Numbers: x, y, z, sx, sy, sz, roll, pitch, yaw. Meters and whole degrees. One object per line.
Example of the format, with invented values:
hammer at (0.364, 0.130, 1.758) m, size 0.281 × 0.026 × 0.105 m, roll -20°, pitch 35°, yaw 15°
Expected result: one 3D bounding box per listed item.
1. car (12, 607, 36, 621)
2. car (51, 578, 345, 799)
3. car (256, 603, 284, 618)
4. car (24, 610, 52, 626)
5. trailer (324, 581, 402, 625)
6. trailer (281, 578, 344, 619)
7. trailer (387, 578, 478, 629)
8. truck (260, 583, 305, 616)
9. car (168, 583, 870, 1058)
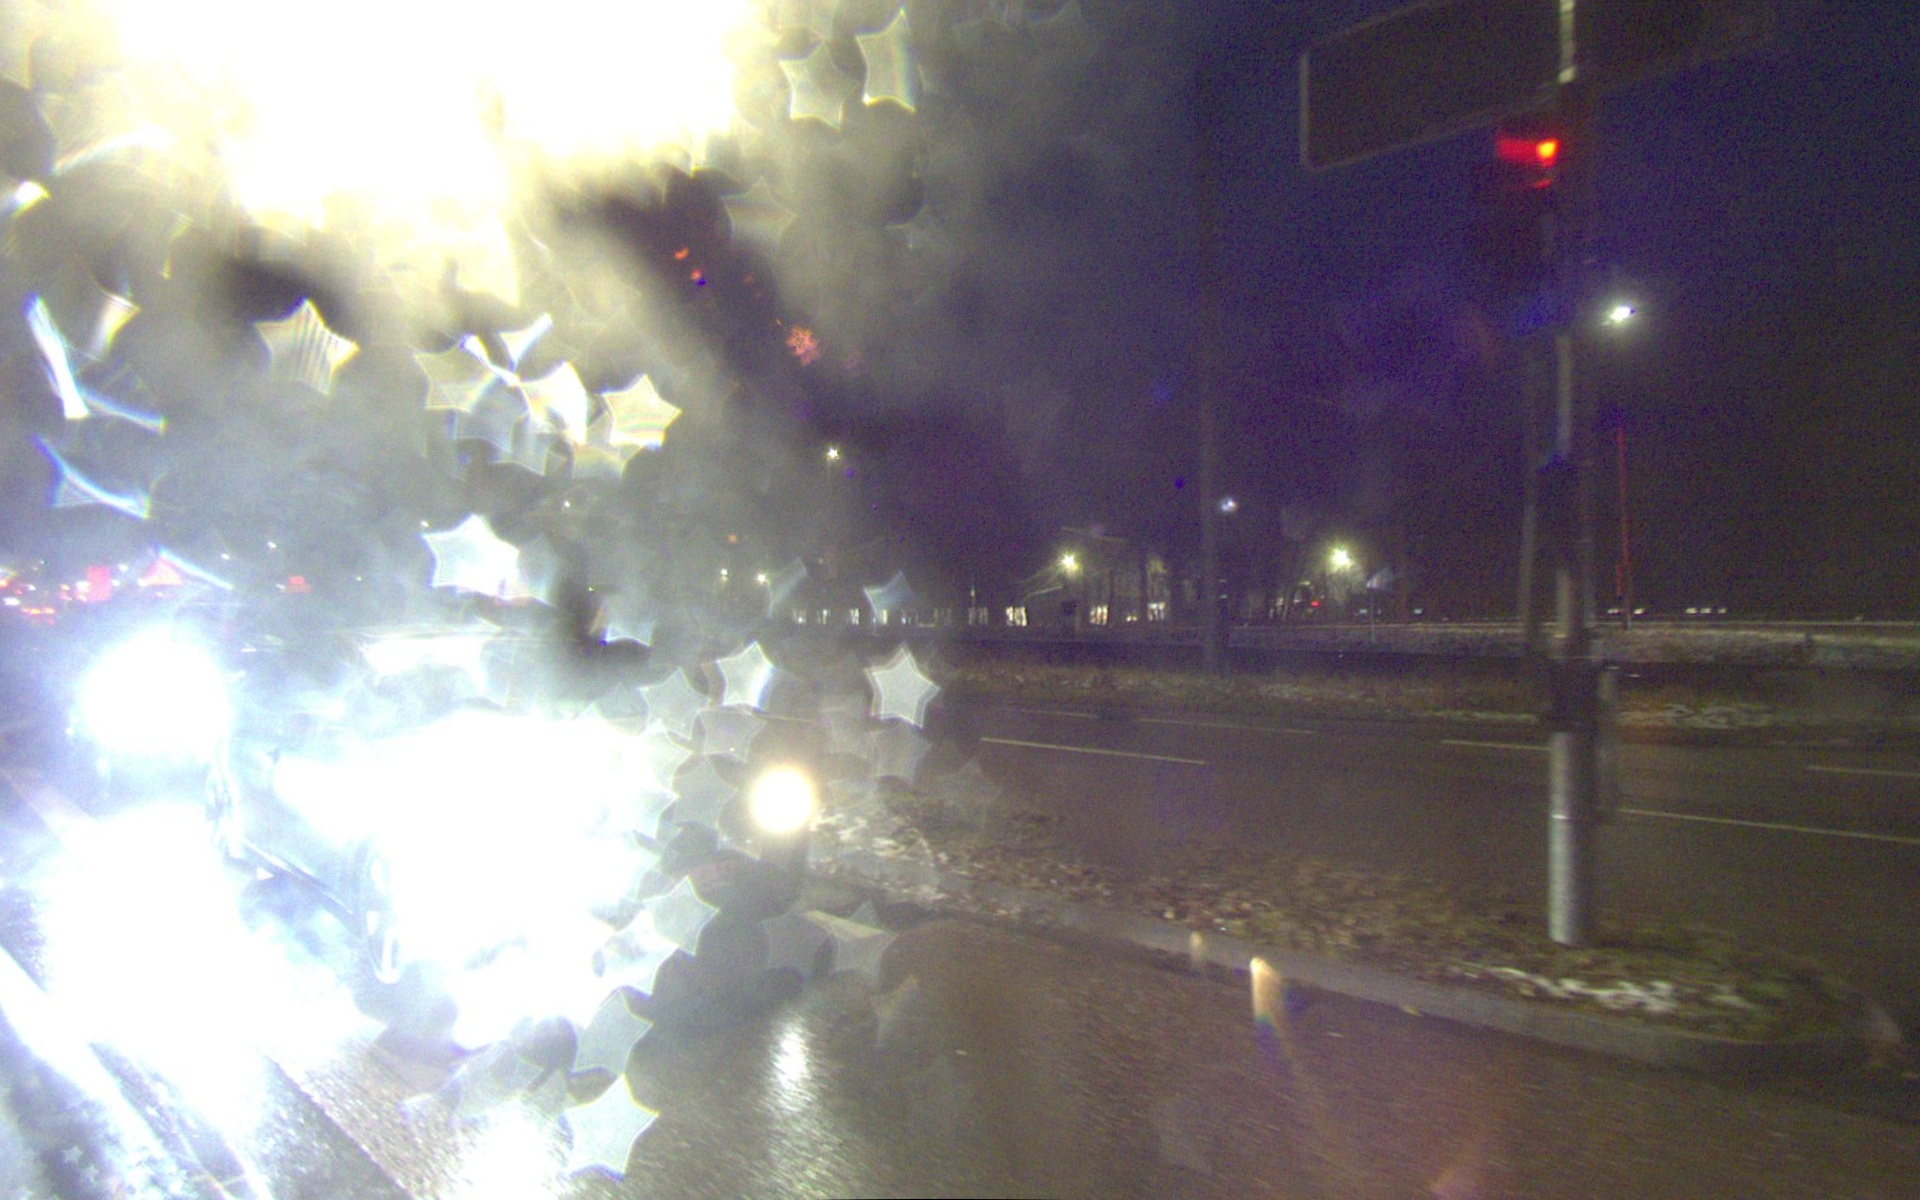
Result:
car at (-113.582, 1.680, 122.768) m, size 4.031 × 1.600 × 1.782 m, roll 0°, pitch 1°, yaw 43°
car at (-7.964, 0.748, 10.395) m, size 4.437 × 1.795 × 1.764 m, roll -1°, pitch -1°, yaw 44°
car at (-79.640, 1.227, 116.761) m, size 4.220 × 1.706 × 1.766 m, roll -1°, pitch 1°, yaw 44°
car at (-98.377, 1.899, 107.959) m, size 4.651 × 1.654 × 1.742 m, roll -1°, pitch 1°, yaw 42°
trailer at (-70.140, 0.219, 118.662) m, size 3.927 × 4.643 × 15.525 m, roll -6°, pitch 4°, yaw -45°
trailer at (-88.144, -0.277, 137.603) m, size 3.927 × 5.049 × 14.845 m, roll -6°, pitch 4°, yaw -45°
trailer at (-54.108, 0.255, 103.541) m, size 3.927 × 4.643 × 14.257 m, roll -6°, pitch 4°, yaw -45°
truck at (-100.283, -0.122, 149.702) m, size 3.401 × 4.643 × 10.219 m, roll -6°, pitch 4°, yaw -45°
car at (-2.636, 0.747, 5.409) m, size 4.435 × 1.522 × 1.765 m, roll -1°, pitch -2°, yaw 42°
